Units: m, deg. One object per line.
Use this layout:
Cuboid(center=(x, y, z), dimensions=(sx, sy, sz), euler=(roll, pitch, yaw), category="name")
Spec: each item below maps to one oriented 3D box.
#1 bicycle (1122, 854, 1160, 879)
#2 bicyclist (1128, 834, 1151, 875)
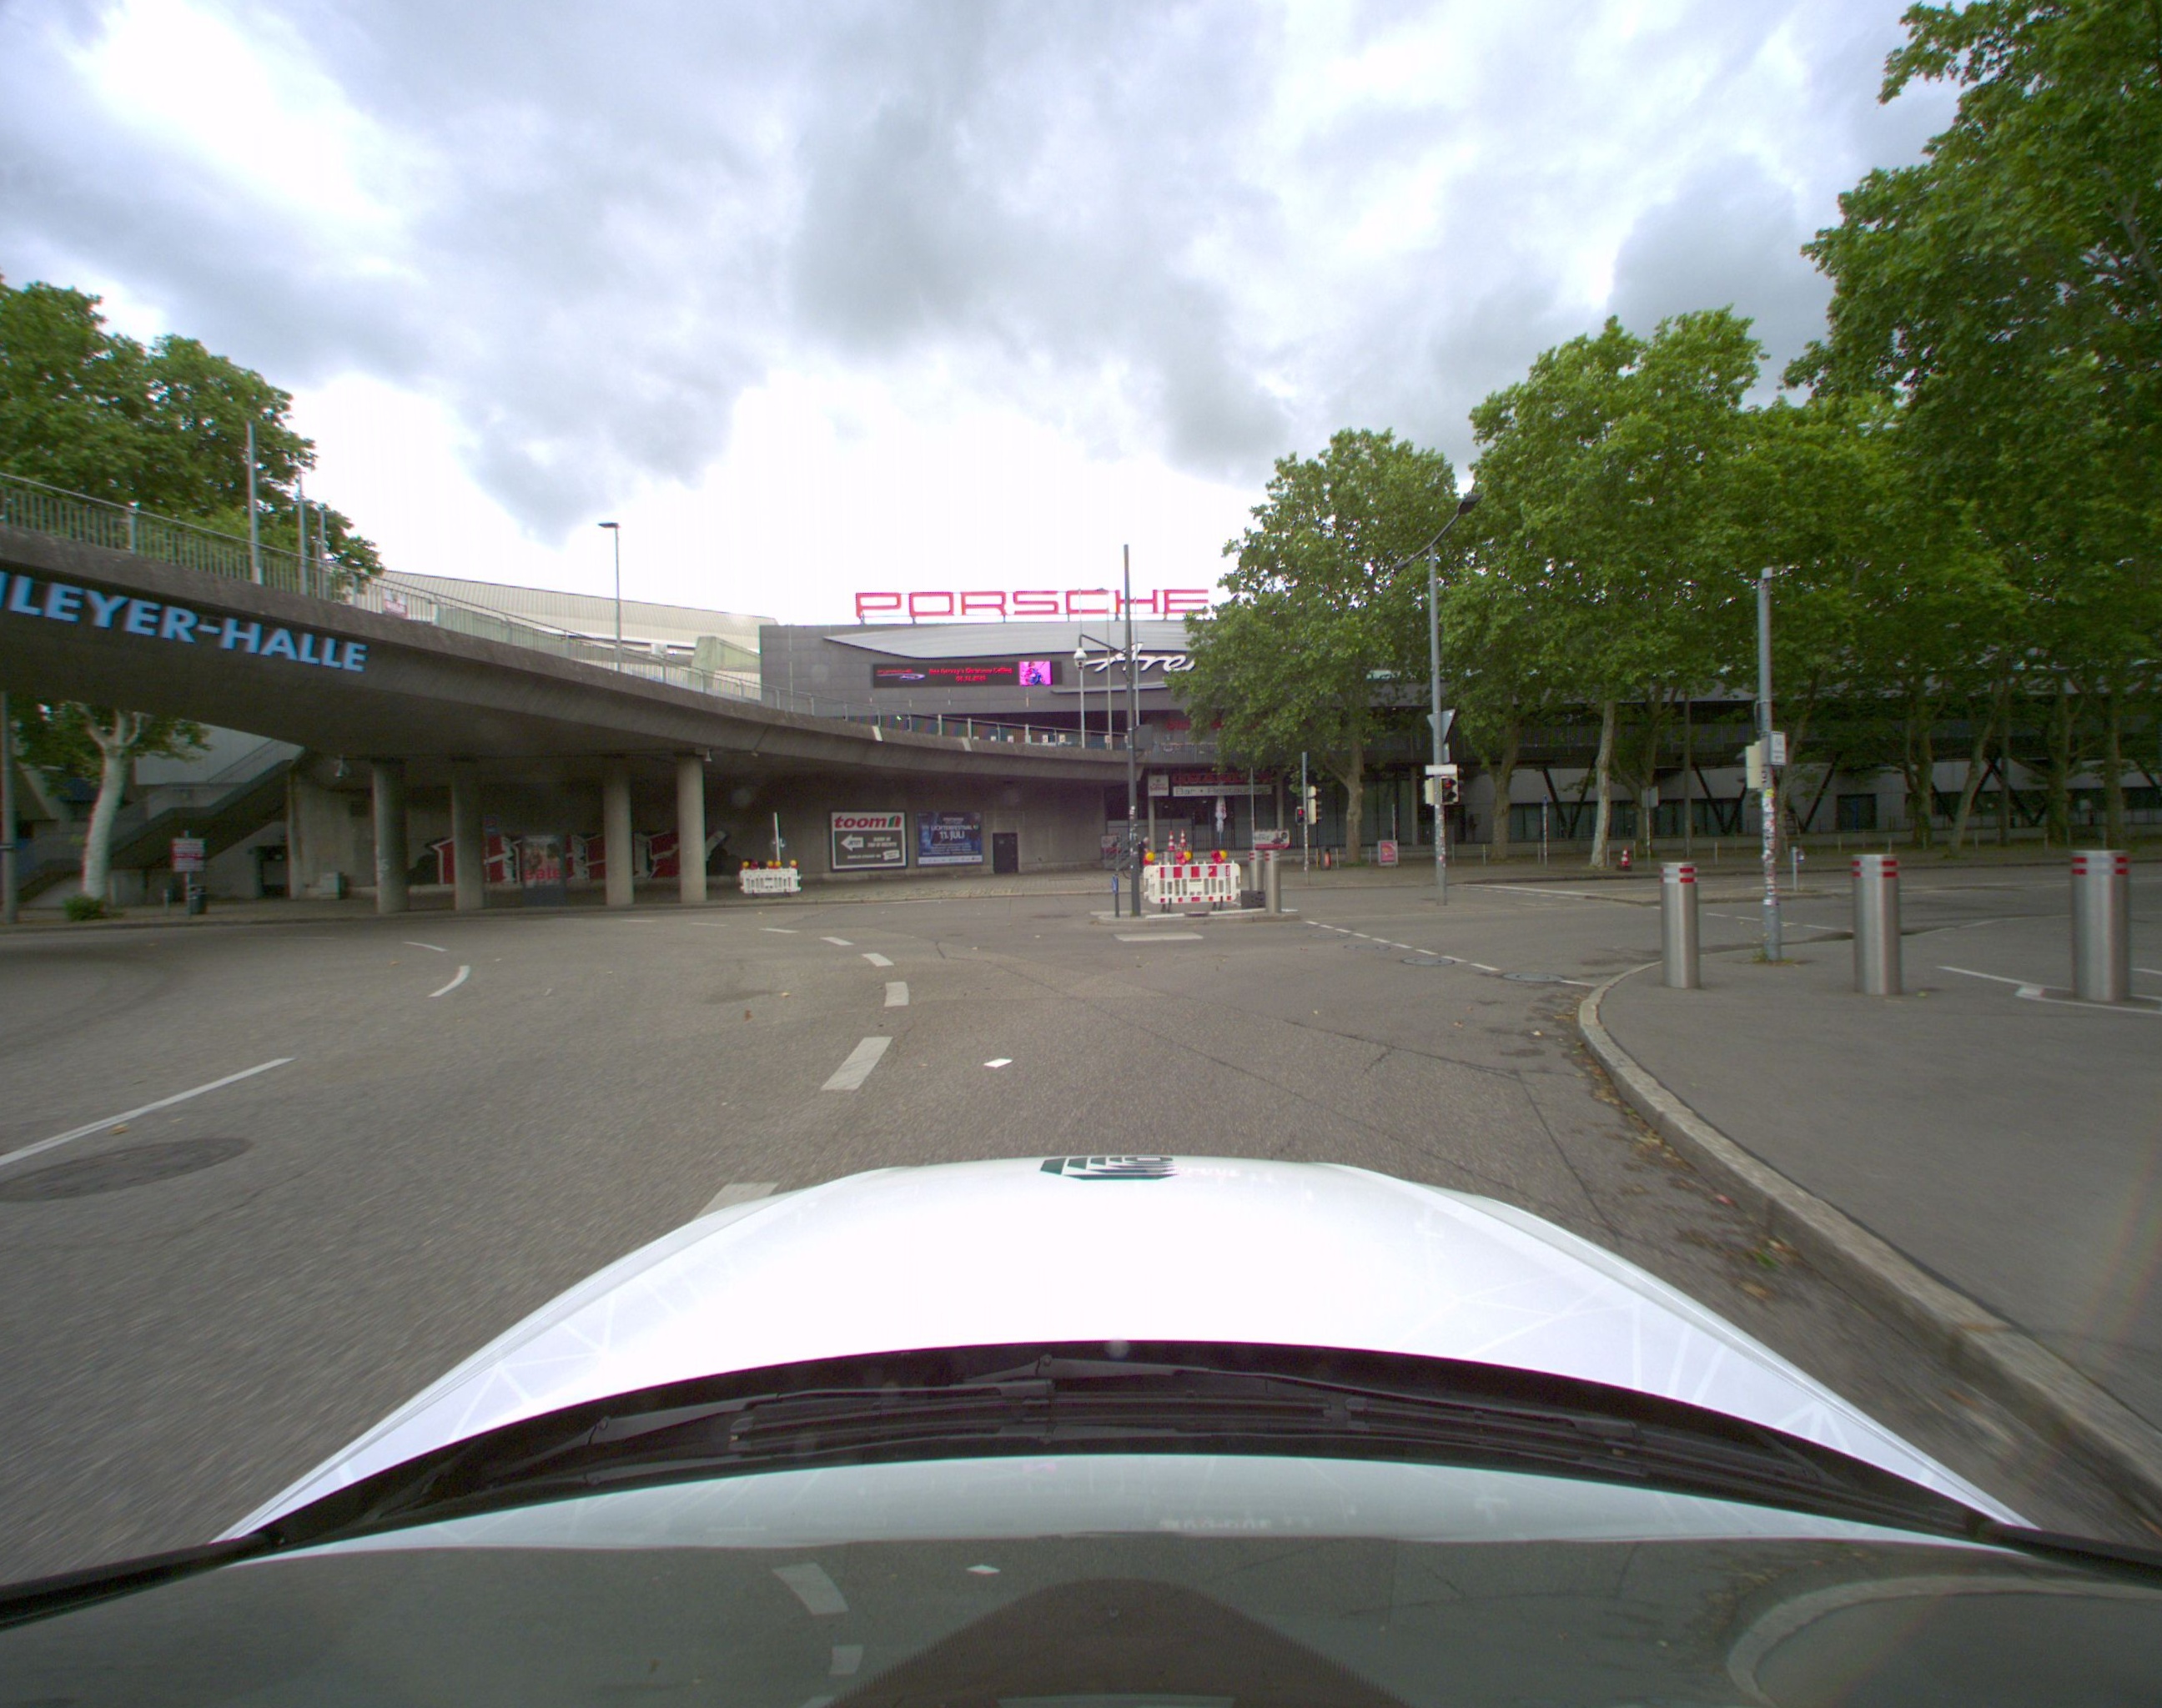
Cuboid(center=(2.516, 0.511, 34.111), dimensions=(1.530, 1.013, 0.516), euler=(0, -1, -5), category="bicycle")
Cuboid(center=(2.454, 0.021, 34.119), dimensions=(0.850, 1.697, 0.765), euler=(0, -1, -5), category="bicyclist")
